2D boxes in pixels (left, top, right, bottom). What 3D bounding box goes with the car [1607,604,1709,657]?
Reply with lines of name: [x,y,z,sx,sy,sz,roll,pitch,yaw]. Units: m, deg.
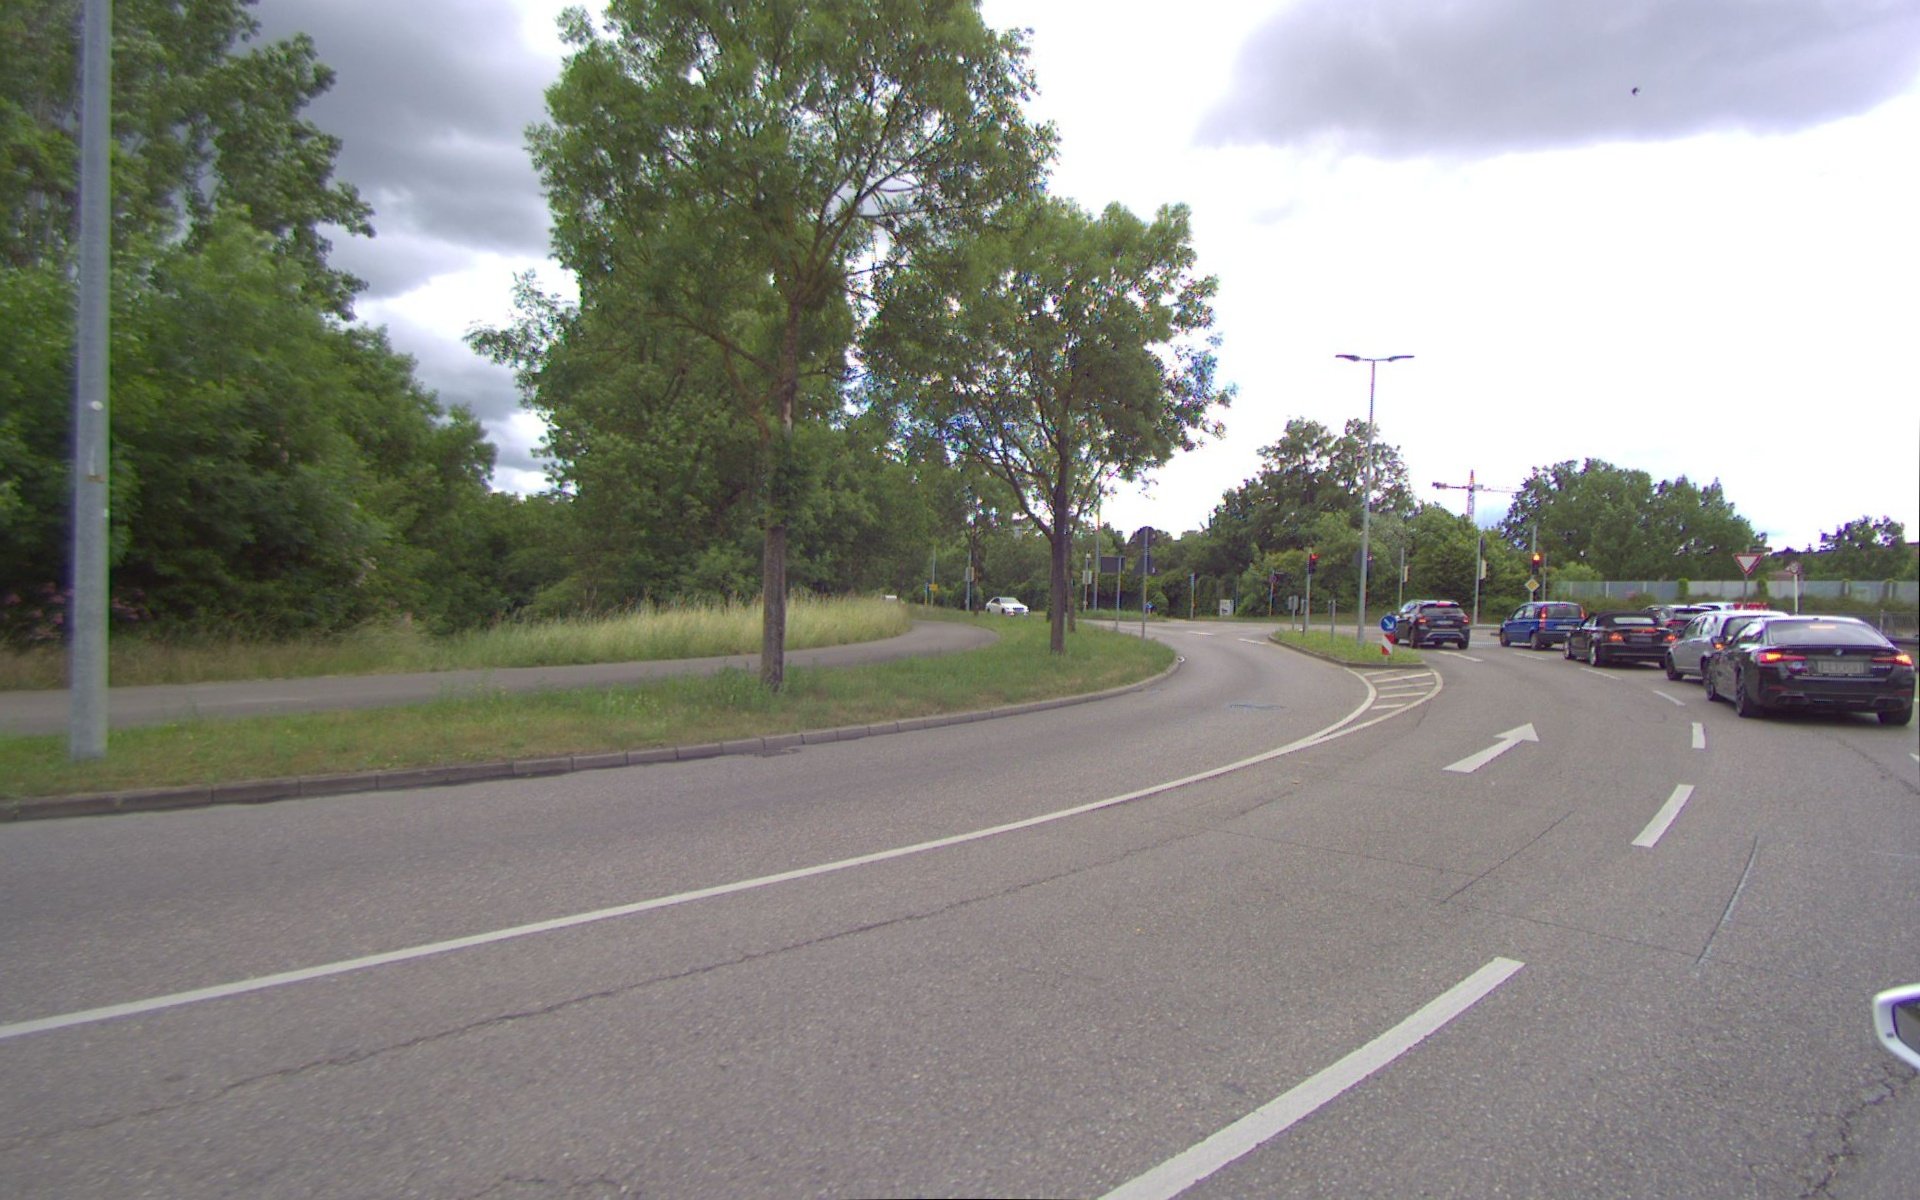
car: [22.674,0.940,32.777,1.789,1.573,3.788,2,0,20]

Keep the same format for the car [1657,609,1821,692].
car: [15.419,0.944,20.096,1.641,1.489,3.627,-1,-1,22]

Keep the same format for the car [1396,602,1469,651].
car: [15.846,0.842,33.818,1.628,1.527,3.771,-1,0,16]

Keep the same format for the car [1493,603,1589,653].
car: [18.989,0.869,32.973,1.517,1.527,3.382,1,0,7]

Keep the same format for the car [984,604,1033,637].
car: [3.480,1.467,72.672,1.906,2.021,4.302,3,2,-20]

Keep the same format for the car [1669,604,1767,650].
car: [31.519,1.126,41.746,3.951,1.697,1.705,3,0,-28]

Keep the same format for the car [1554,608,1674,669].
car: [16.865,0.954,26.109,1.537,1.386,4.084,-1,0,17]

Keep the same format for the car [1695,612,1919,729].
car: [12.843,0.942,15.539,1.845,1.496,4.954,0,0,30]
